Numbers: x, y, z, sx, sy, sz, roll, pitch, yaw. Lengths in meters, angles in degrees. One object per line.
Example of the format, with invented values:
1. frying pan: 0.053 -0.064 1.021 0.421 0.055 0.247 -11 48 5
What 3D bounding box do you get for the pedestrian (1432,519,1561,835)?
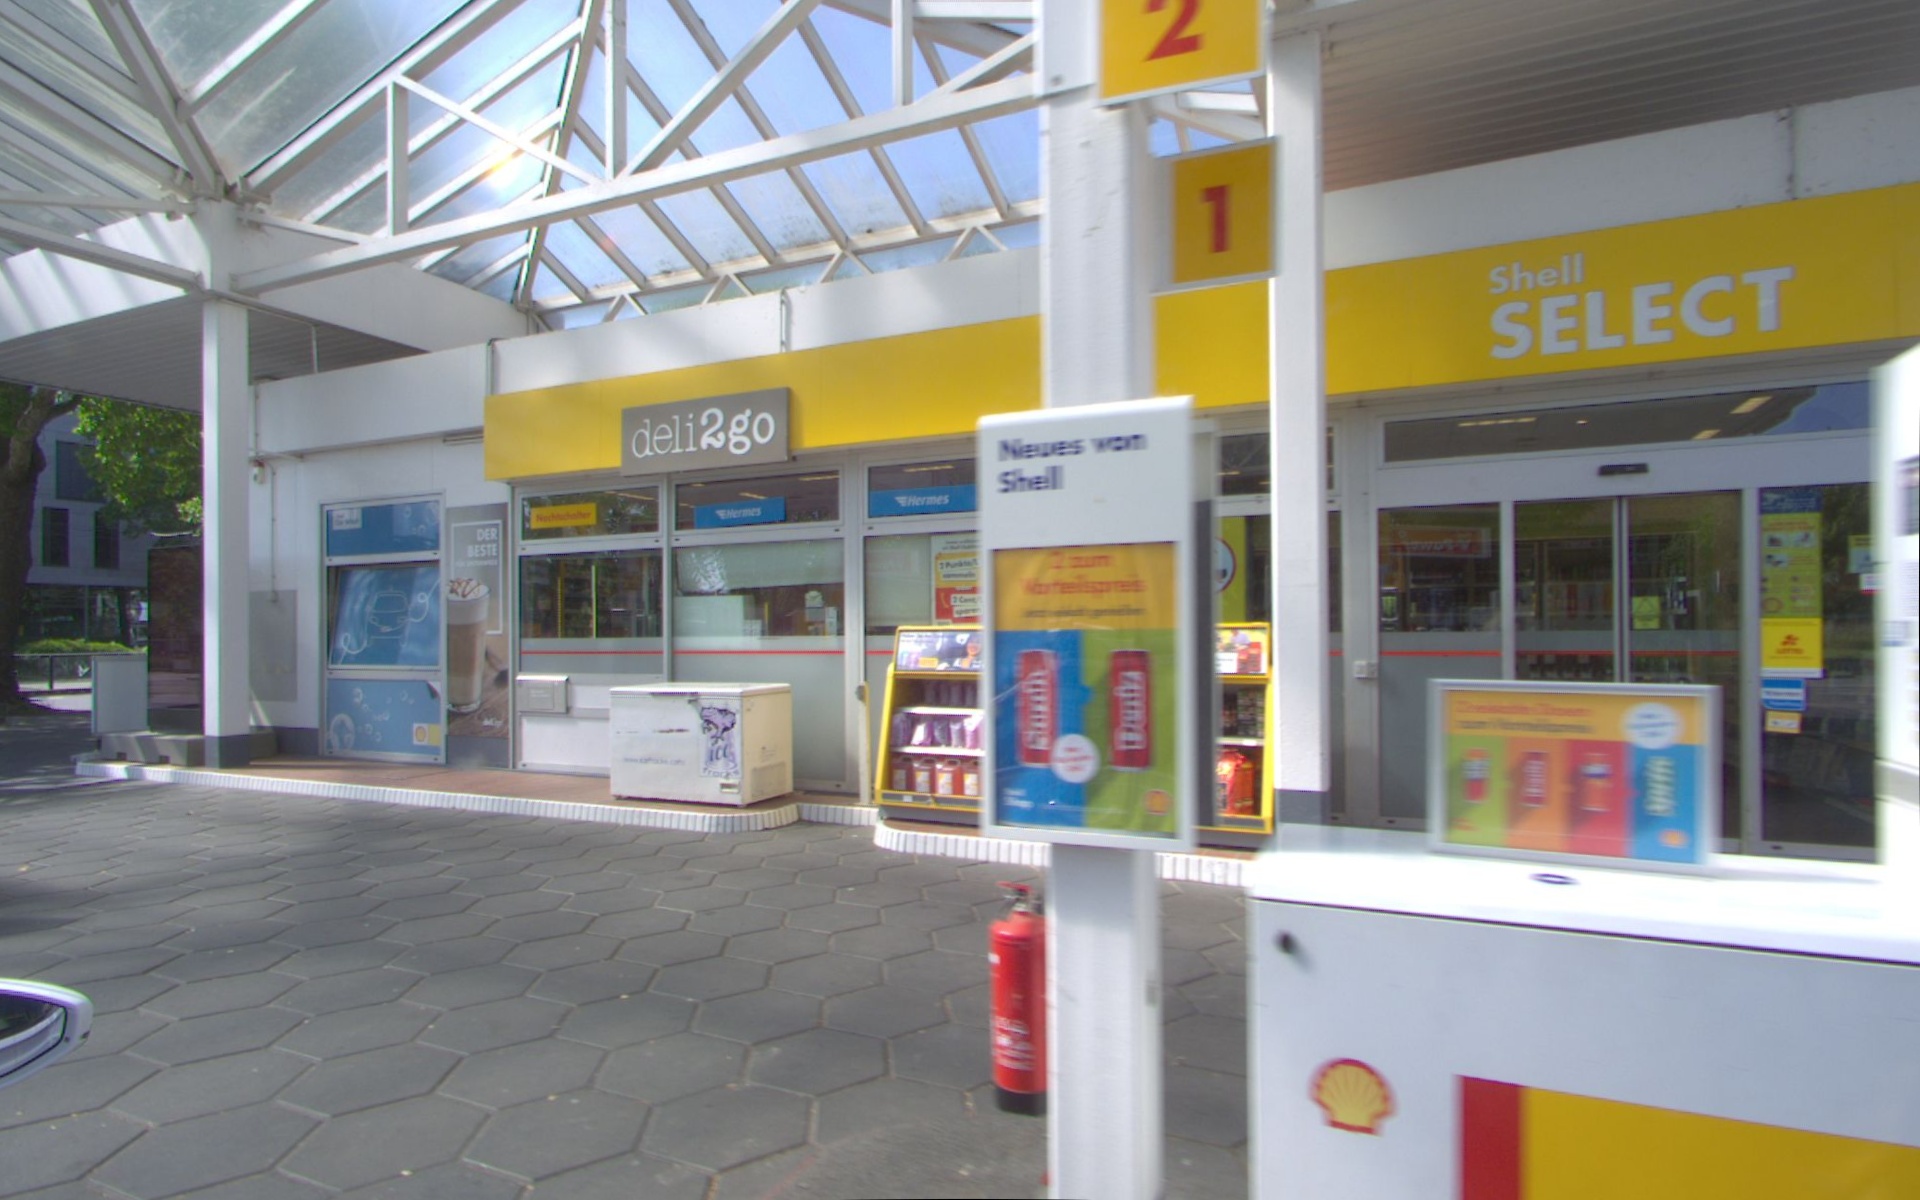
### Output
1. pedestrian: 3.670 0.512 6.903 0.612 2.039 0.742 -1 -1 16
